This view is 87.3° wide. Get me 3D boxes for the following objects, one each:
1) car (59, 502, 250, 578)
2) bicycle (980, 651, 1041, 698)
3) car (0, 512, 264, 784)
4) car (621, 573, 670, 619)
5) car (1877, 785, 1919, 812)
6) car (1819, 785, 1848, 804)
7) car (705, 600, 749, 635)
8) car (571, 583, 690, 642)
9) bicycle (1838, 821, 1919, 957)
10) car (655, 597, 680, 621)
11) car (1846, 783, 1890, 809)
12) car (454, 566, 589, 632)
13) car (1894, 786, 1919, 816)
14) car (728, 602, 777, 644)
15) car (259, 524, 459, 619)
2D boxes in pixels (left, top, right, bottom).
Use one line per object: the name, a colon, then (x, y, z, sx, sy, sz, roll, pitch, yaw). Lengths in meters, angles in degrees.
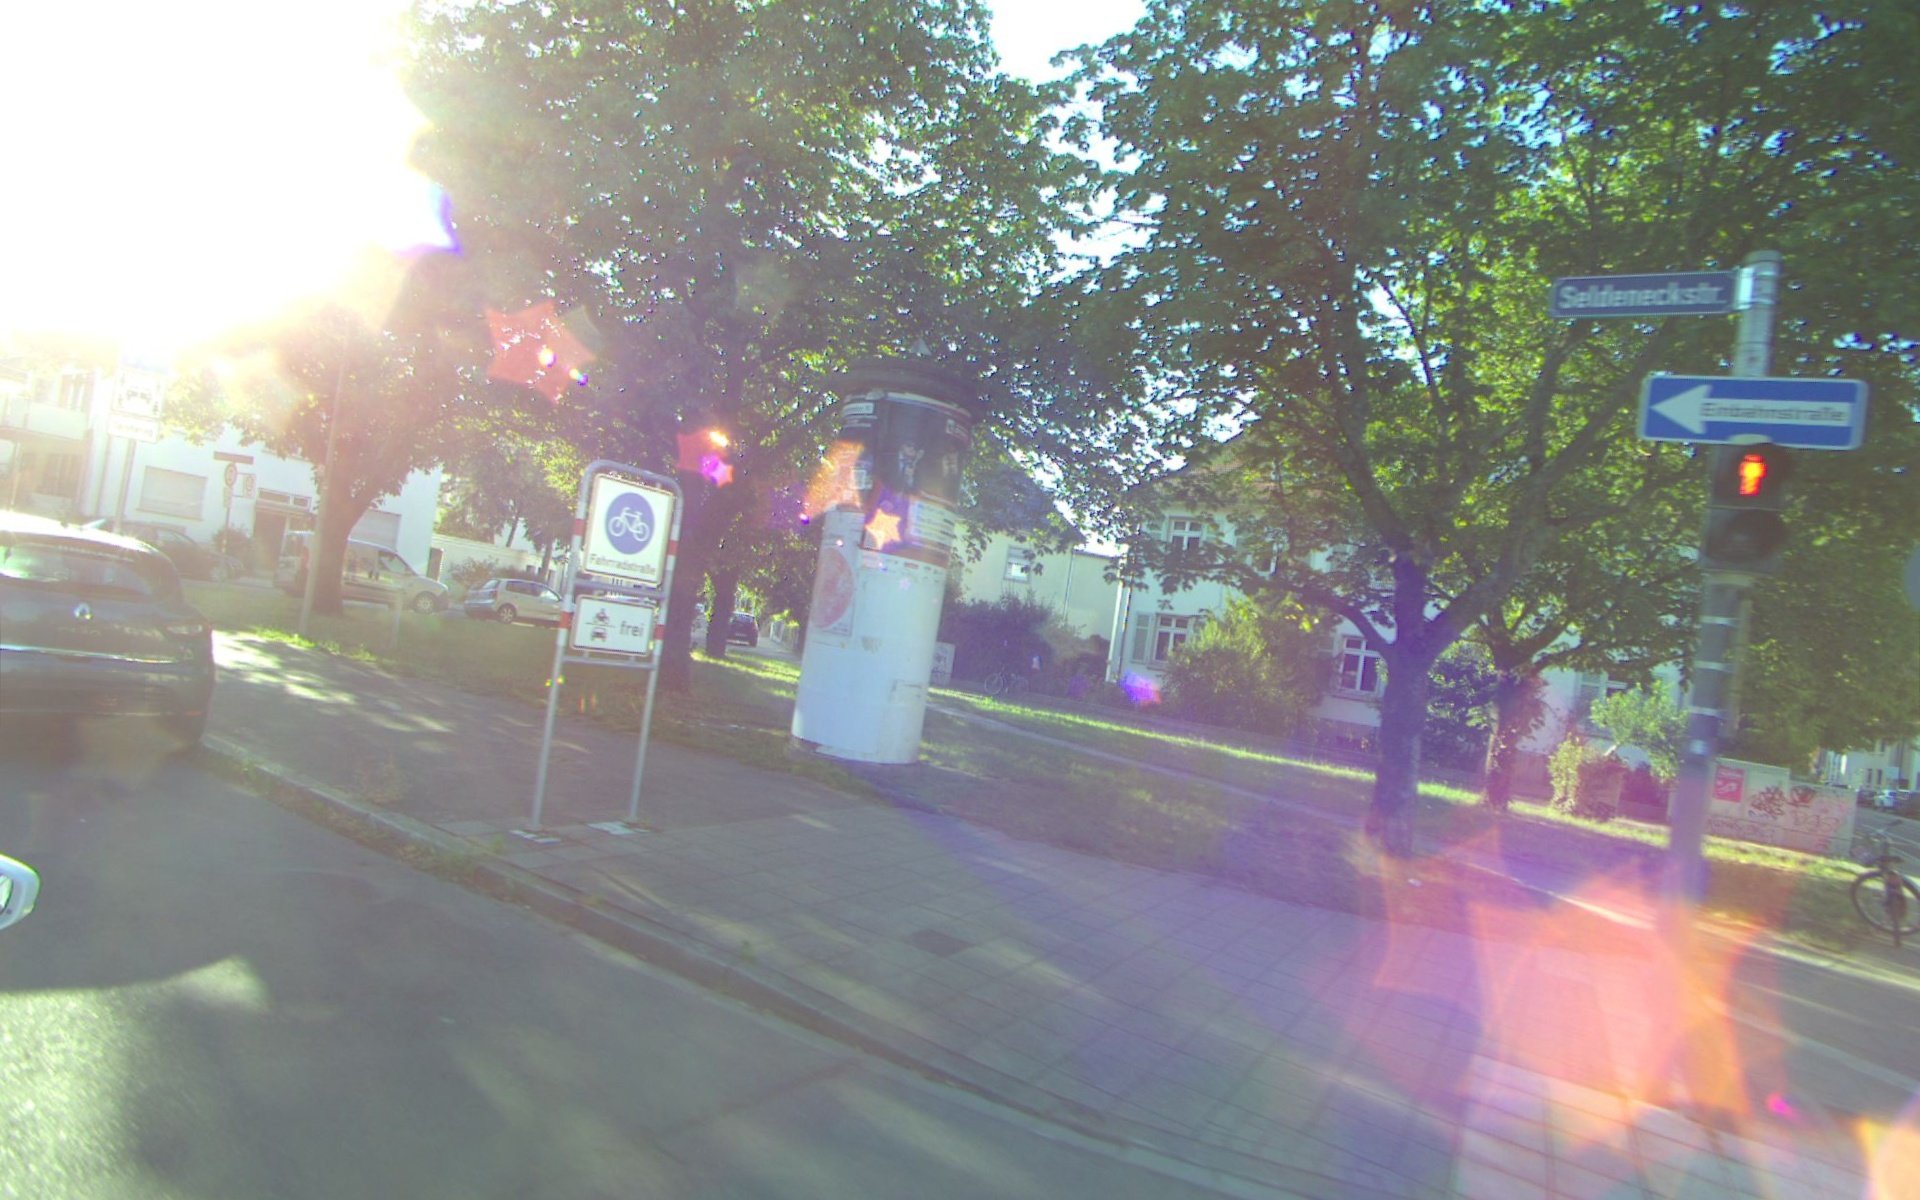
car: (-23.801, -1.740, 29.858, 1.689, 1.462, 3.994, 7, -3, 35)
bicycle: (1.663, 2.466, 33.331, 1.923, 1.252, 0.450, 8, -1, 34)
car: (-7.082, 0.119, 7.254, 4.468, 1.526, 1.730, 7, -5, 34)
car: (-19.781, -0.211, 63.374, 2.079, 2.361, 4.516, 10, -4, -10)
car: (70.795, 14.894, 75.634, 1.968, 1.458, 3.994, 8, -2, 34)
car: (80.310, 17.889, 92.506, 1.458, 1.463, 3.439, 7, -5, 34)
car: (-13.152, 0.974, 56.744, 1.971, 1.587, 4.095, 9, -2, -17)
car: (-11.795, 0.492, 36.224, 1.498, 1.539, 3.934, 6, -4, 30)
bicycle: (9.058, 2.803, 9.922, 0.461, 1.102, 1.520, 8, -2, 43)
car: (-24.759, 0.789, 85.250, 1.734, 1.639, 3.835, 10, -4, -15)
car: (76.419, 16.458, 84.689, 1.968, 1.745, 3.999, 7, -5, 34)
car: (-13.928, 0.008, 32.116, 1.578, 1.532, 3.563, 7, -3, 30)
car: (67.766, 14.319, 70.932, 1.968, 1.791, 3.995, 8, -2, 34)
car: (-9.902, 1.068, 47.858, 1.970, 1.569, 3.990, 9, -2, -14)
car: (-16.924, -0.753, 28.512, 1.999, 1.895, 4.249, 7, -3, 35)
